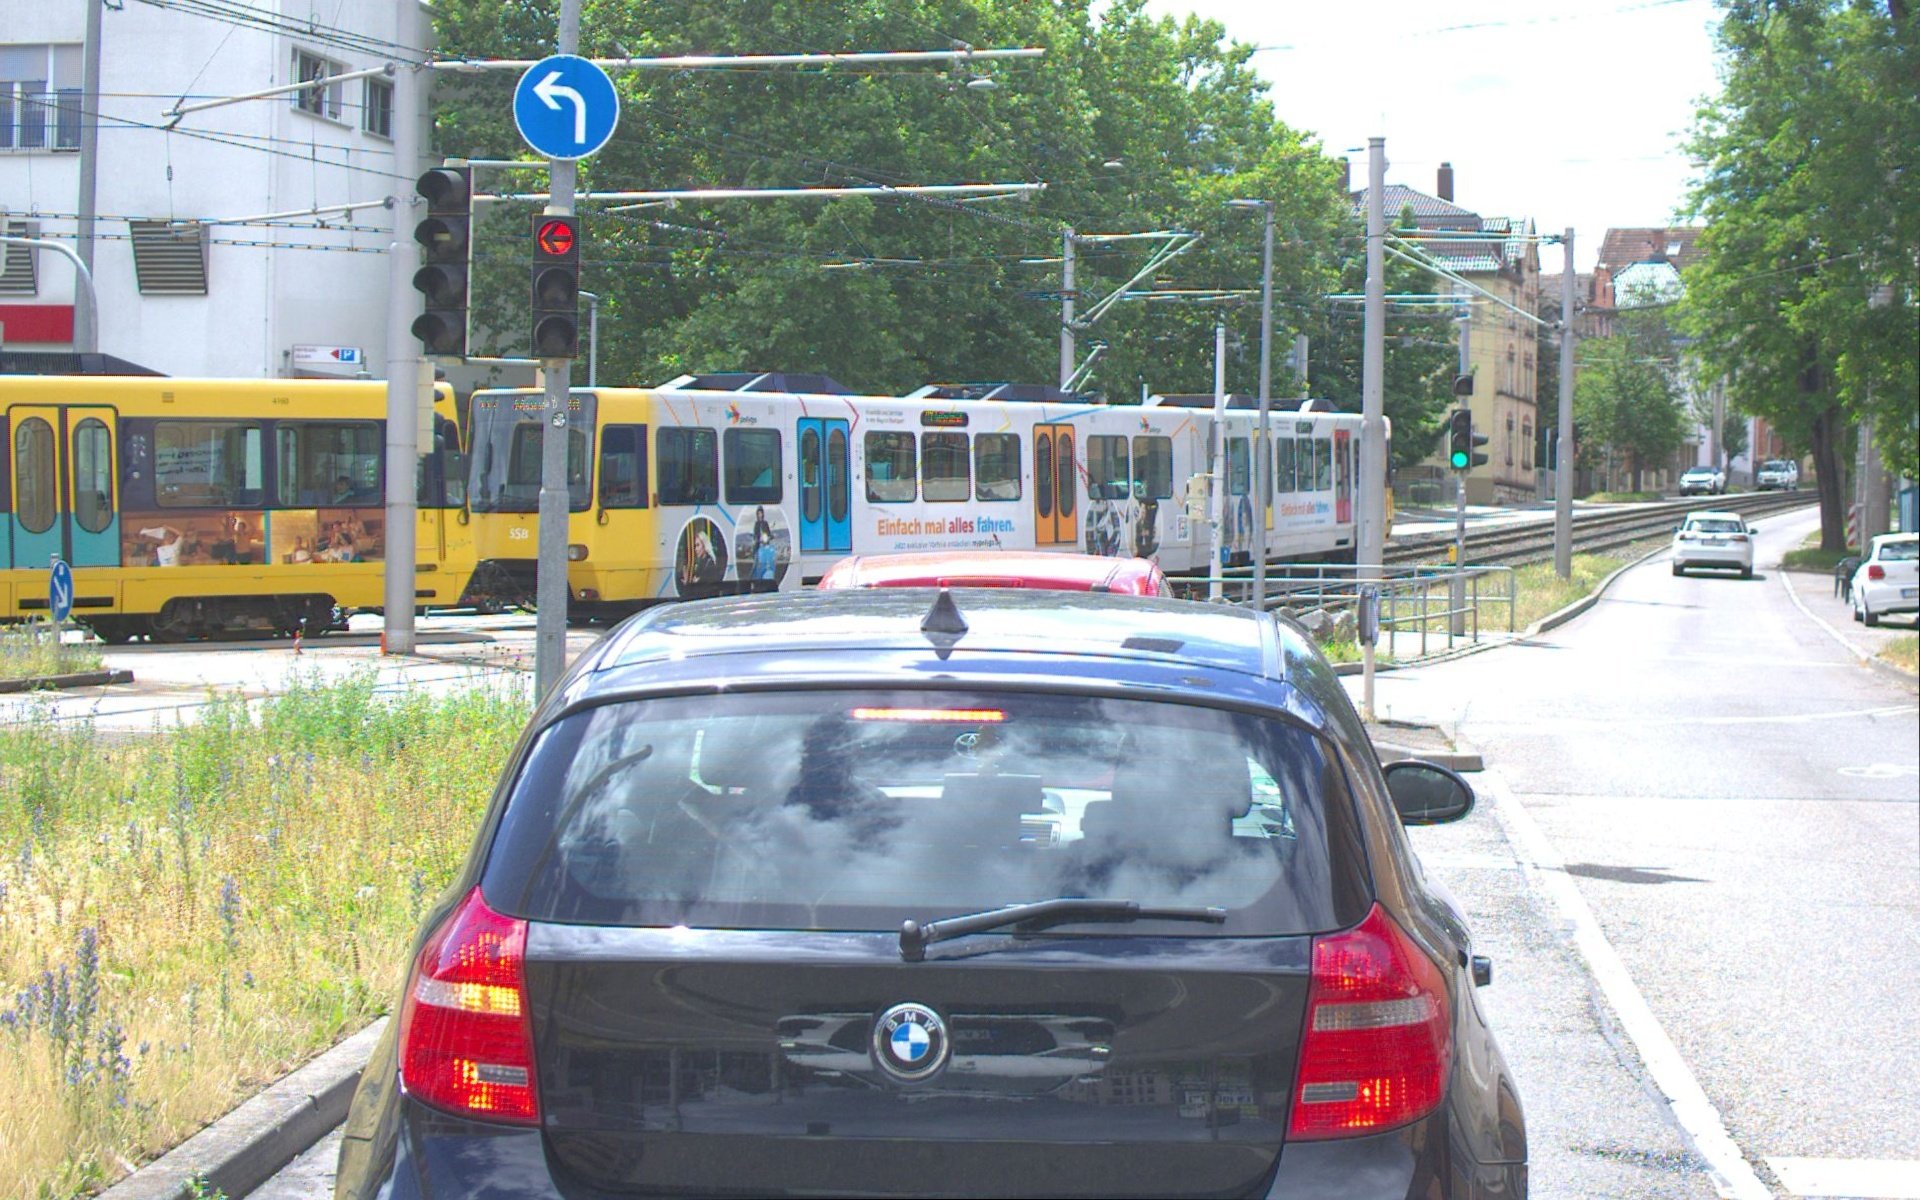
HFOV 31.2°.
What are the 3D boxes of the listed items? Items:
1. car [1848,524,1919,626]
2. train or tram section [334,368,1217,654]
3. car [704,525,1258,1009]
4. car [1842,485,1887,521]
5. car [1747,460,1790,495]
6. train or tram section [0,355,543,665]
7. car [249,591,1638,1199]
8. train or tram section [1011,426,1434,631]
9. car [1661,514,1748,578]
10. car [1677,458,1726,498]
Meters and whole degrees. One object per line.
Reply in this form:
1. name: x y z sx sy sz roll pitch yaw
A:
1. car: 15.412 -0.407 55.859 1.788 1.590 3.998 0 0 13
2. train or tram section: -2.005 -1.266 56.414 3.755 3.866 20.600 0 0 30
3. car: 0.230 0.504 12.498 1.625 1.468 3.999 0 0 6
4. car: 39.977 -4.264 151.968 1.816 1.463 3.998 3 2 14
5. car: 48.710 -7.363 207.046 1.996 2.007 3.996 0 0 21
6. train or tram section: -14.901 -1.085 42.460 20.087 3.816 3.761 -1 0 -36
7. car: -0.107 0.714 6.215 1.701 1.447 4.000 0 0 -3
8. train or tram section: 6.183 -1.384 74.015 3.753 3.801 20.031 0 0 20
9. car: 17.400 -1.280 80.440 1.816 1.463 3.999 0 1 10
10. car: 40.480 -6.659 187.747 1.996 2.007 3.996 0 0 21
